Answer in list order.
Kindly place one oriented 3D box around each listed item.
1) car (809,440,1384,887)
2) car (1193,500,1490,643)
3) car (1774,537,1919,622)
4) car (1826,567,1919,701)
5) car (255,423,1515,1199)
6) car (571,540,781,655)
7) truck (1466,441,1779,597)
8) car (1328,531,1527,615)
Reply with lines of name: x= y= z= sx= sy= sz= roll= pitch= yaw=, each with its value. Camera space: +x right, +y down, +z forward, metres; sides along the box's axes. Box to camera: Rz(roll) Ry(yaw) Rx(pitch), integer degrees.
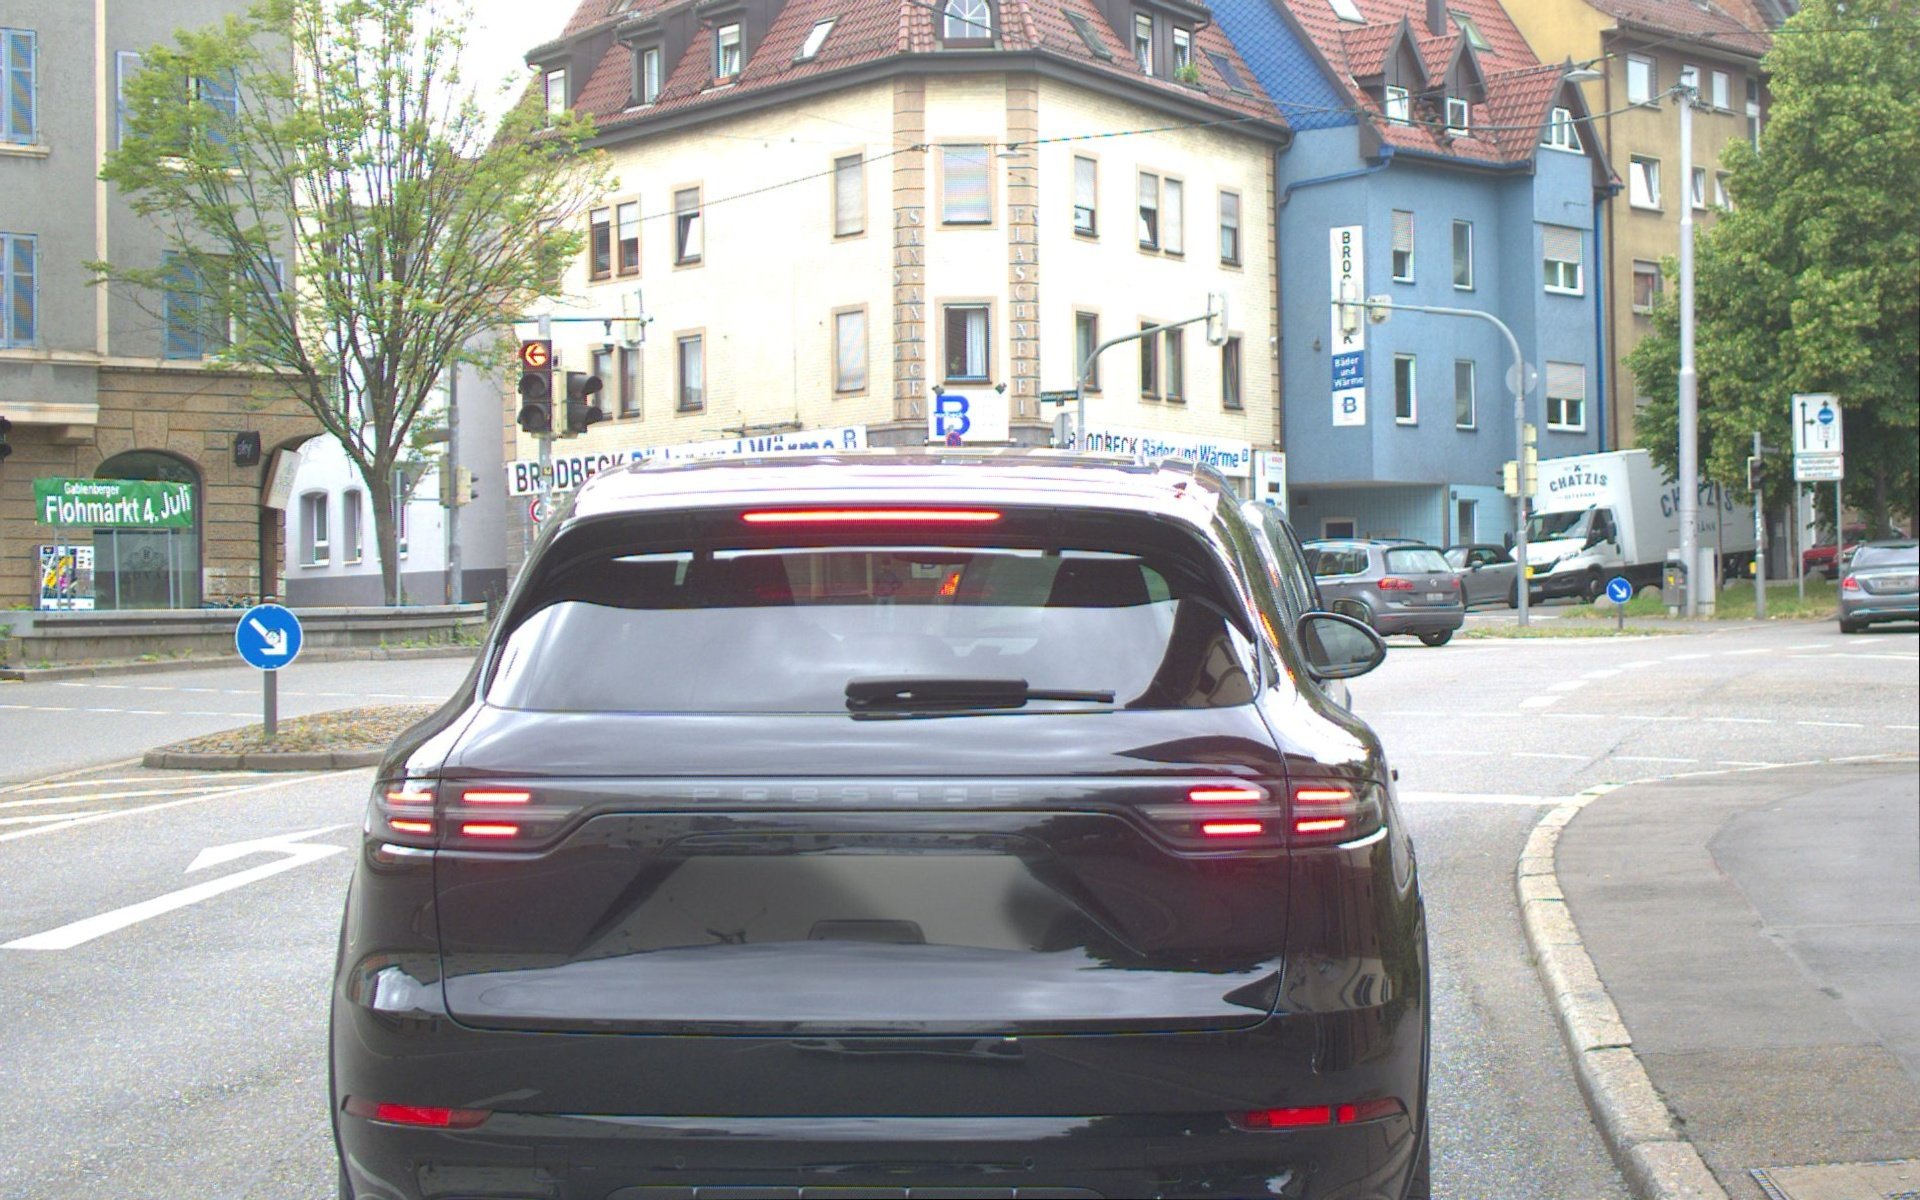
car: x=0.748 y=0.213 z=15.059 sx=1.994 sy=1.678 sz=3.998 roll=0 pitch=1 yaw=10
car: x=5.614 y=-0.424 z=50.907 sx=1.994 sy=2.007 sz=3.998 roll=1 pitch=0 yaw=-43
car: x=22.343 y=-0.506 z=86.185 sx=1.999 sy=2.007 sz=3.990 roll=2 pitch=1 yaw=43
car: x=14.882 y=0.539 z=54.208 sx=1.995 sy=2.007 sz=3.996 roll=1 pitch=0 yaw=19
car: x=-0.225 y=0.506 z=7.410 sx=1.978 sy=1.678 sz=4.001 roll=0 pitch=2 yaw=-3
car: x=-4.007 y=-0.029 z=49.177 sx=1.890 sy=1.574 sz=3.967 roll=0 pitch=0 yaw=13
truck: x=15.240 y=-1.794 z=78.576 sx=2.880 sy=3.328 sz=8.772 roll=2 pitch=1 yaw=41
car: x=9.722 y=-0.572 z=71.325 sx=3.989 sy=1.678 sz=1.999 roll=-1 pitch=1 yaw=-42
